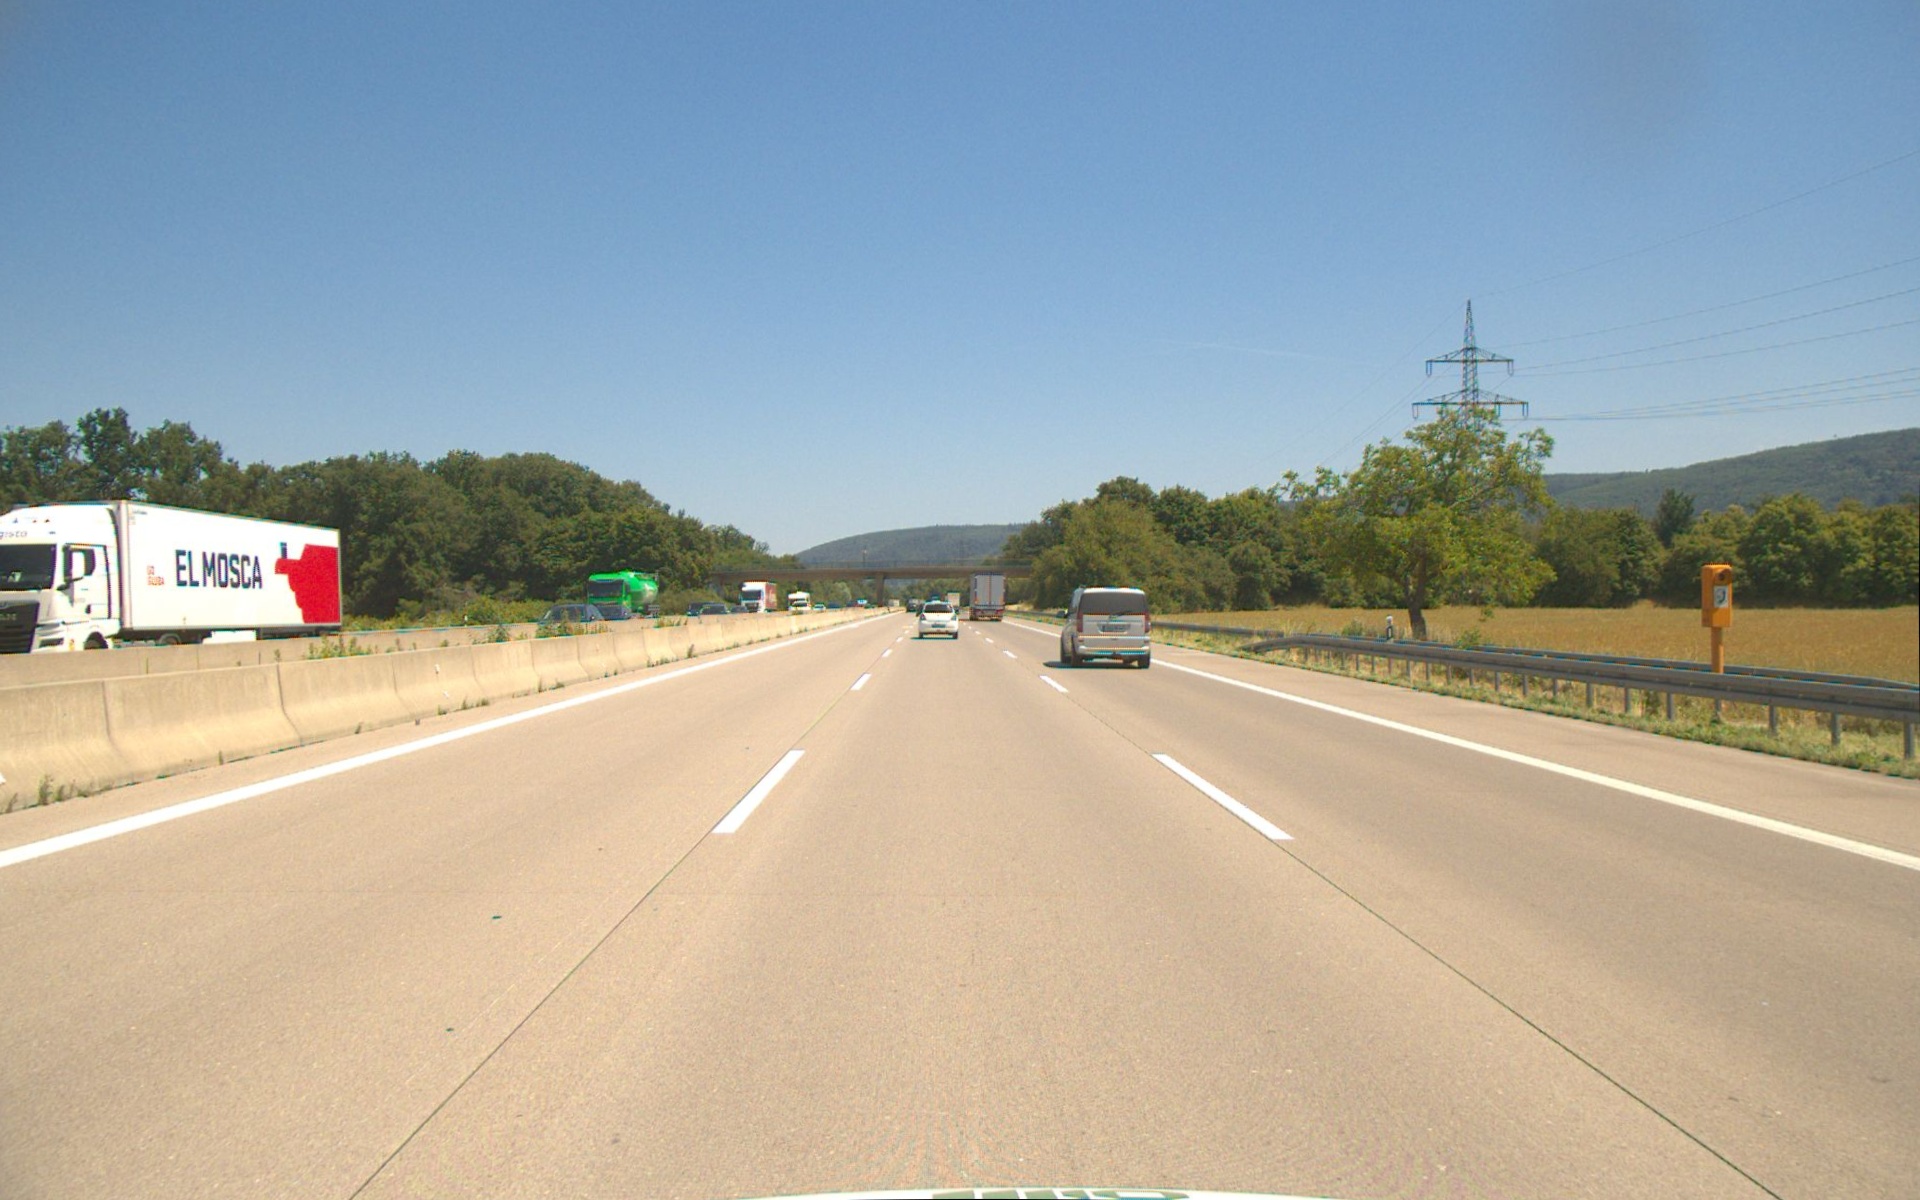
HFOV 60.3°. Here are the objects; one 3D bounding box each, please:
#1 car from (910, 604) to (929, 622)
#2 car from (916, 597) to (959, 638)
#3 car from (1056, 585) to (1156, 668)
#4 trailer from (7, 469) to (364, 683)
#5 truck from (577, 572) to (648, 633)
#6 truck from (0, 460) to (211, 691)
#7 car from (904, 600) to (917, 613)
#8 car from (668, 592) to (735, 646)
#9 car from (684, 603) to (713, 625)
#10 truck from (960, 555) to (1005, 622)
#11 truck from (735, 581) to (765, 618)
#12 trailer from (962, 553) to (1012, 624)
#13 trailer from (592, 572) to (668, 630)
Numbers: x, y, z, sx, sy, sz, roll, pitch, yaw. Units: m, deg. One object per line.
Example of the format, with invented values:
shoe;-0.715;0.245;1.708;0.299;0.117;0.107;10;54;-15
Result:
car;-4.379;1.386;178.475;1.890;1.825;3.998;1;0;-2
car;-0.965;0.709;70.294;1.782;1.691;3.999;0;0;-1
car;3.520;0.612;40.522;1.953;1.881;3.999;1;0;-1
trailer;-20.313;-0.576;45.026;3.019;4.845;14.371;1;0;-1
truck;-22.171;0.126;106.059;2.988;3.698;7.975;1;0;-1
truck;-20.233;-0.542;38.037;3.019;4.845;6.497;1;0;-1
car;-7.407;1.007;247.396;1.890;1.825;3.999;1;0;-2
car;-9.662;0.671;62.115;1.954;1.881;3.998;3;0;-2
car;-22.416;1.215;142.008;1.890;1.825;3.999;1;0;-1
truck;2.046;-1.042;151.998;3.646;5.913;7.050;1;0;-2
truck;-22.696;-0.101;179.187;2.505;3.916;6.789;1;0;-1
trailer;2.302;-1.005;145.107;3.646;5.913;12.156;1;0;-2
trailer;-22.323;0.061;112.569;2.988;3.698;11.665;1;0;-1
